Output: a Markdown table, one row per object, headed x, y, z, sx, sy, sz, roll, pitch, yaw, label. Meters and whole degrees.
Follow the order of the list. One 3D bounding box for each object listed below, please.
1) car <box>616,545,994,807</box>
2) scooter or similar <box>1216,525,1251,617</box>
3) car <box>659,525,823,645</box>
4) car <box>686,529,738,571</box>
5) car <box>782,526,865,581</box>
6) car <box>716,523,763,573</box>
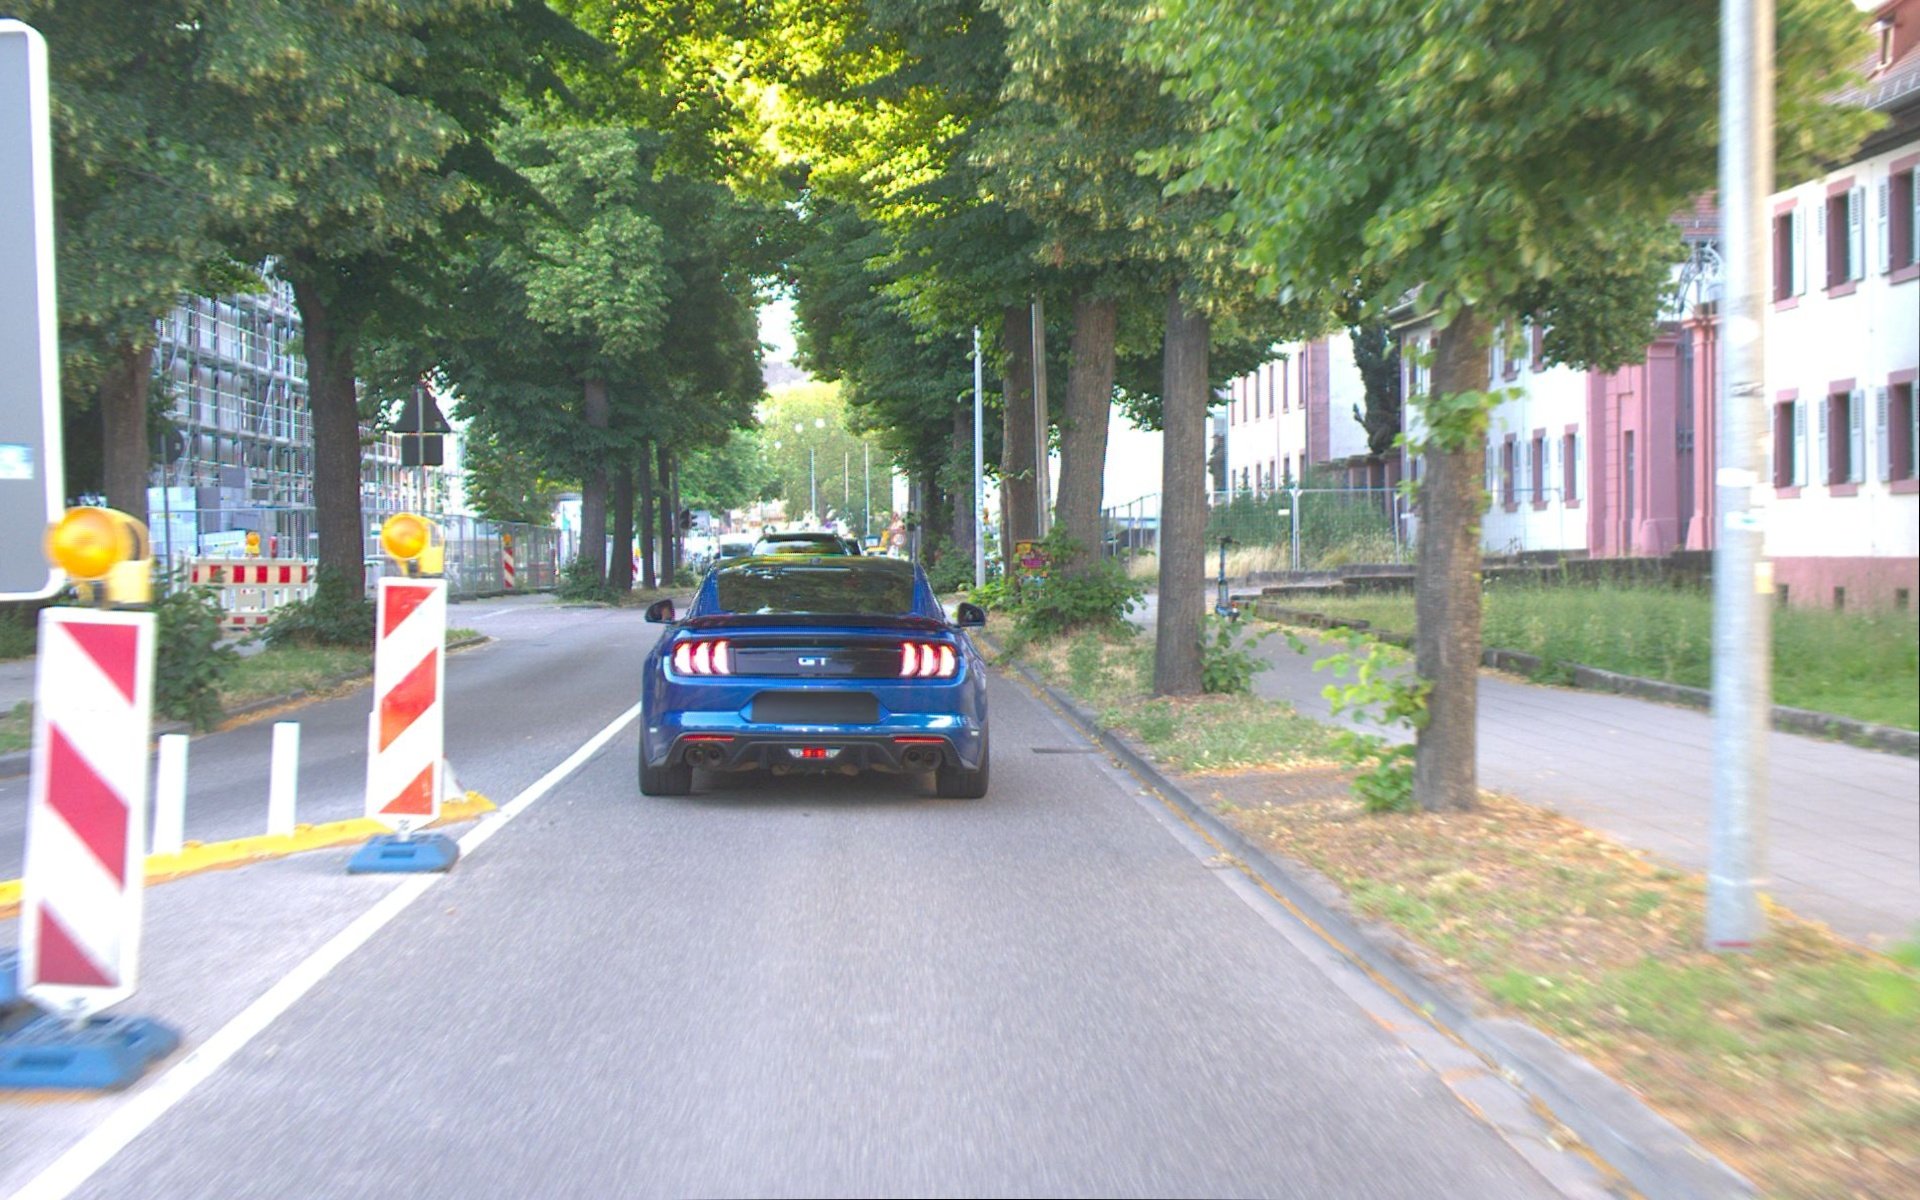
| x | y | z | sx | sy | sz | roll | pitch | yaw | label |
| --- | --- | --- | --- | --- | --- | --- | --- | --- | --- |
| -0.880 | 0.364 | 19.966 | 1.947 | 1.322 | 4.001 | 1 | 1 | -2 | car |
| 3.863 | -0.409 | 48.578 | 0.239 | 1.271 | 1.267 | -1 | 0 | -7 | scooter or similar |
| -2.938 | -0.232 | 46.827 | 1.947 | 1.522 | 4.000 | 1 | 1 | 0 | car |
| -13.049 | -2.643 | 181.011 | 2.336 | 2.190 | 5.309 | -1 | 1 | 0 | car |
| -3.483 | -1.197 | 88.049 | 1.947 | 1.322 | 4.000 | 1 | 1 | 0 | car |
| -12.313 | -2.908 | 192.424 | 2.492 | 2.687 | 5.831 | -1 | 1 | -2 | car |
